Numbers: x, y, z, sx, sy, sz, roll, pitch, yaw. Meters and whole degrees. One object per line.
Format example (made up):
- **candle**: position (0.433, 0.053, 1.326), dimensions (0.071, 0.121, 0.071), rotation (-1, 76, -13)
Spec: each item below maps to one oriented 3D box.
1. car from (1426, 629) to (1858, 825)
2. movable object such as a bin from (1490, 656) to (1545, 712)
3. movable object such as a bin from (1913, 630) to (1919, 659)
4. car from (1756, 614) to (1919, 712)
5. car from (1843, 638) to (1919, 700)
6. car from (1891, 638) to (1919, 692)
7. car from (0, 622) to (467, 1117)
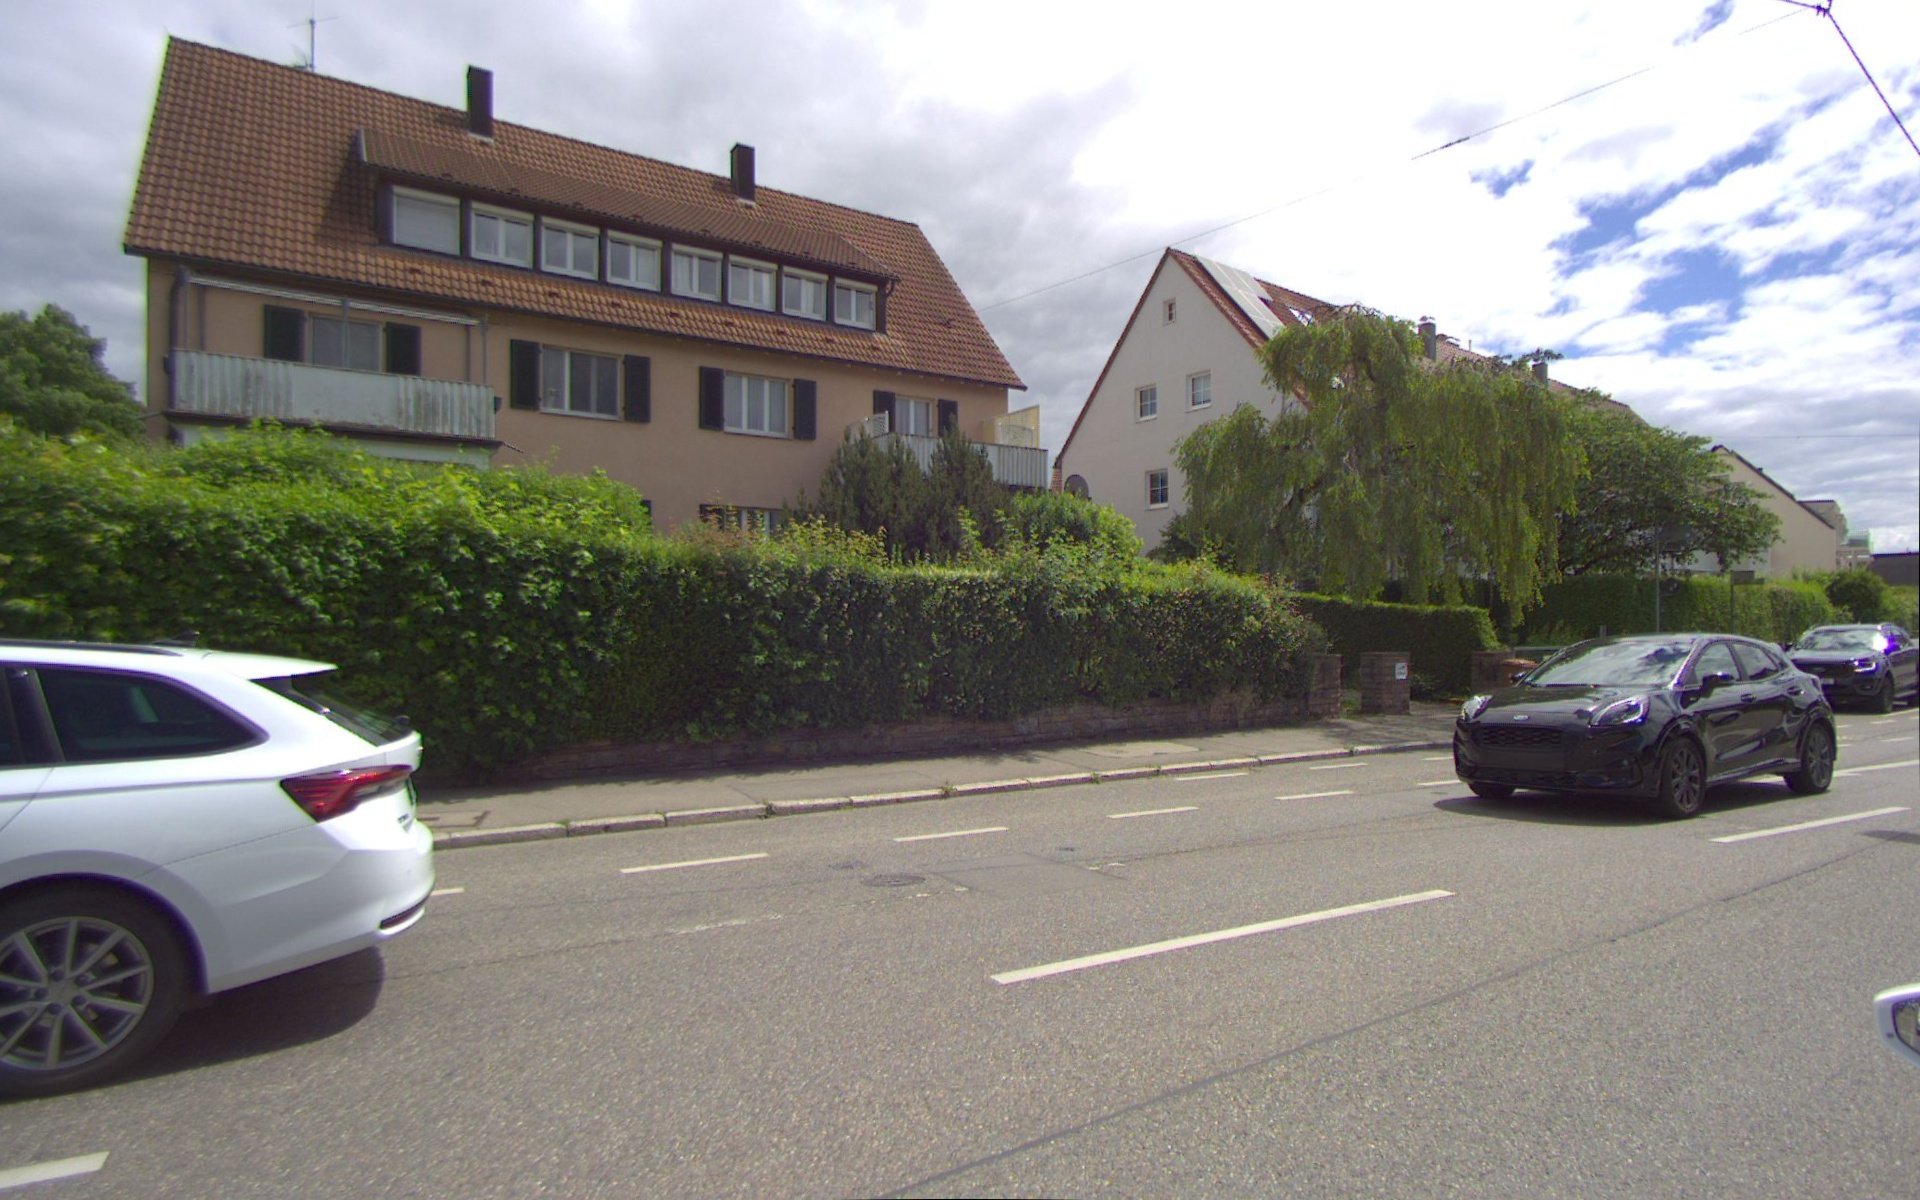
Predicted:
- **car**: position (6.392, 1.054, 9.343), dimensions (4.066, 1.475, 1.690), rotation (2, -3, -29)
- **movable object such as a bin**: position (10.239, 1.534, 18.453), dimensions (0.638, 0.957, 0.672), rotation (1, 0, -34)
- **movable object such as a bin**: position (51.289, 2.365, 53.240), dimensions (1.205, 1.501, 1.056), rotation (1, -2, -42)
- **car**: position (19.606, 1.344, 22.119), dimensions (5.354, 1.919, 1.979), rotation (2, -4, -38)
- **car**: position (23.882, 1.674, 25.270), dimensions (4.301, 1.436, 1.764), rotation (2, -2, -38)
- **car**: position (28.007, 1.823, 28.526), dimensions (4.403, 1.436, 1.763), rotation (2, -2, -40)
- **car**: position (-4.173, 0.826, 3.390), dimensions (4.390, 1.495, 1.867), rotation (1, -2, -30)
